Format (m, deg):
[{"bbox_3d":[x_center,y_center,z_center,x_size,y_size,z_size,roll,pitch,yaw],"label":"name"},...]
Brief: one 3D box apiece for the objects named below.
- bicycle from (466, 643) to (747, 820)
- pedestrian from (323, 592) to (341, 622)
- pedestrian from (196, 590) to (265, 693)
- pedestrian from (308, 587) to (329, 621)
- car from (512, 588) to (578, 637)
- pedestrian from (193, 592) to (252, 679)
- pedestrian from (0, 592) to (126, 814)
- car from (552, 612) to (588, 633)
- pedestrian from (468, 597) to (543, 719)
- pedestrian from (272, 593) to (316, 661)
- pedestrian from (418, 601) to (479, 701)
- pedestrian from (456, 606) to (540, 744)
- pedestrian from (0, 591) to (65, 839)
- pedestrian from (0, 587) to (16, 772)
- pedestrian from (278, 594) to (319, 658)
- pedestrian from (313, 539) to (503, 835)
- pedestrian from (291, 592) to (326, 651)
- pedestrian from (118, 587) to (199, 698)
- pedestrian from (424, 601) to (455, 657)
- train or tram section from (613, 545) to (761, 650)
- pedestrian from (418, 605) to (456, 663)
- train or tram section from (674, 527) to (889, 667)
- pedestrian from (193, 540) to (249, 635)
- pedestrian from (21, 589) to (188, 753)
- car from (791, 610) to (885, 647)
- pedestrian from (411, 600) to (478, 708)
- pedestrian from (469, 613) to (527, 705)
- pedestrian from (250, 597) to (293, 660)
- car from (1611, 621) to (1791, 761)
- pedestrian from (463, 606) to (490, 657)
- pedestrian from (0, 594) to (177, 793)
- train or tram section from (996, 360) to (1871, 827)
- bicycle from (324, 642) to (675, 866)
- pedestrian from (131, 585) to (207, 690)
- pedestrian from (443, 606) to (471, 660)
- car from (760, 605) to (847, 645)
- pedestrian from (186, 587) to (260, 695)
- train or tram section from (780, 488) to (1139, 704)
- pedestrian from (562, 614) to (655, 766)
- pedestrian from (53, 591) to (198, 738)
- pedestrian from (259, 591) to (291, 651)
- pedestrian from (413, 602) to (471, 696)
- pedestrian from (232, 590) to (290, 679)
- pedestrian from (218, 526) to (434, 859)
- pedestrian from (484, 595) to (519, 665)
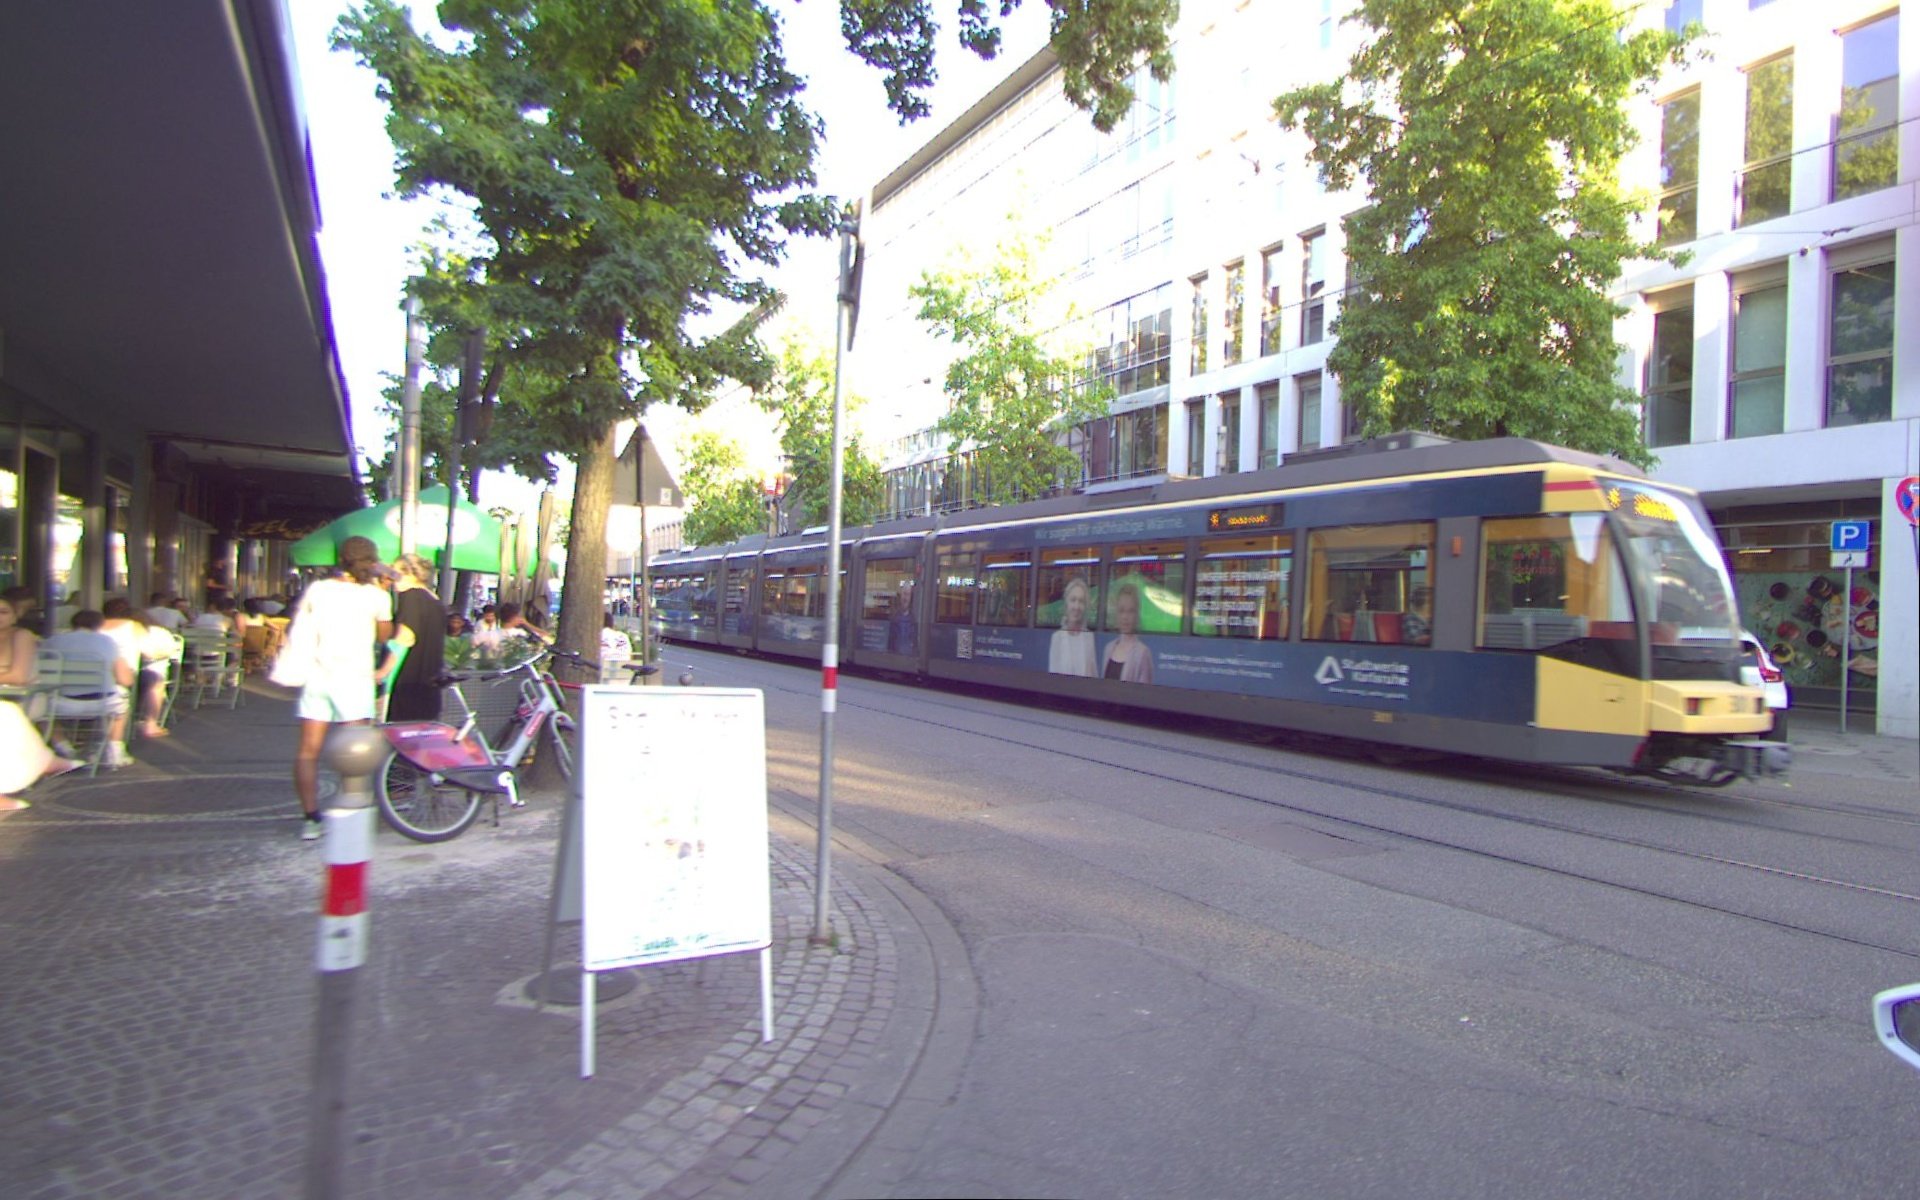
[{"bbox_3d":[-2.588,0.930,7.461,1.847,1.154,0.621,3,-2,-34],"label":"bicycle"},{"bbox_3d":[-27.195,0.314,43.504,0.507,1.258,0.655,6,-3,-30],"label":"pedestrian"},{"bbox_3d":[-10.287,0.587,14.182,0.649,1.396,0.759,3,-2,-30],"label":"pedestrian"},{"bbox_3d":[-28.492,0.165,44.604,0.604,1.452,0.508,5,-3,-28],"label":"pedestrian"},{"bbox_3d":[-18.324,0.532,44.234,1.978,2.003,4.809,2,-1,-31],"label":"car"},{"bbox_3d":[-12.237,0.587,16.683,0.649,1.396,0.759,3,-2,-30],"label":"pedestrian"},{"bbox_3d":[-6.029,0.622,6.413,0.839,1.337,0.876,3,-2,-26],"label":"pedestrian"},{"bbox_3d":[-30.661,1.737,78.894,1.892,1.570,3.963,1,-1,-33],"label":"car"},{"bbox_3d":[-5.408,0.678,11.937,0.709,1.380,0.865,3,-1,-28],"label":"pedestrian"},{"bbox_3d":[-13.992,0.567,21.122,0.649,1.396,0.759,3,-2,-30],"label":"pedestrian"},{"bbox_3d":[-7.369,0.723,14.468,0.709,1.380,0.918,3,-1,-28],"label":"pedestrian"},{"bbox_3d":[-4.927,0.773,10.688,0.709,1.380,0.918,3,-1,-28],"label":"pedestrian"},{"bbox_3d":[-5.707,0.606,5.555,0.877,1.337,0.875,3,-2,-27],"label":"pedestrian"},{"bbox_3d":[-7.041,0.558,6.845,0.616,1.337,0.836,3,-2,-27],"label":"pedestrian"},{"bbox_3d":[-14.502,0.572,22.043,0.649,1.348,0.759,3,-2,-30],"label":"pedestrian"},{"bbox_3d":[-3.520,0.526,6.457,0.629,1.764,0.782,1,-2,17],"label":"pedestrian"},{"bbox_3d":[-15.813,0.527,24.391,0.600,1.396,0.643,3,-2,-30],"label":"pedestrian"},{"bbox_3d":[-10.402,0.550,13.059,0.649,1.396,0.759,3,-2,-30],"label":"pedestrian"},{"bbox_3d":[-13.144,0.734,25.356,0.638,1.363,0.725,3,-2,-29],"label":"pedestrian"},{"bbox_3d":[-11.214,-0.044,40.215,3.019,3.570,10.446,4,-2,-30],"label":"train or tram section"},{"bbox_3d":[-11.881,0.766,22.804,0.702,1.281,0.595,3,-2,-30],"label":"pedestrian"},{"bbox_3d":[-5.926,-0.025,31.009,2.978,3.570,10.757,3,-1,-30],"label":"train or tram section"},{"bbox_3d":[-14.377,-0.238,19.544,0.754,1.789,0.653,1,-2,41],"label":"pedestrian"},{"bbox_3d":[-7.454,0.607,8.813,0.877,1.337,0.875,3,-2,-27],"label":"pedestrian"},{"bbox_3d":[-5.361,1.231,44.553,1.834,1.477,4.169,0,1,36],"label":"car"},{"bbox_3d":[-6.885,0.705,13.417,0.709,1.380,1.004,3,-1,-28],"label":"pedestrian"},{"bbox_3d":[-7.223,0.903,15.679,0.709,1.380,1.004,3,-1,-28],"label":"pedestrian"},{"bbox_3d":[-15.727,0.649,22.970,0.684,1.396,0.759,3,-2,-30],"label":"pedestrian"},{"bbox_3d":[11.056,1.213,15.165,1.920,1.694,4.259,-1,0,35],"label":"car"},{"bbox_3d":[-12.420,0.808,25.793,0.546,1.283,0.636,3,-2,-30],"label":"pedestrian"},{"bbox_3d":[-6.364,0.649,7.283,0.877,1.337,0.875,3,-2,-27],"label":"pedestrian"},{"bbox_3d":[4.495,0.022,12.910,2.991,3.570,10.287,2,-1,-30],"label":"train or tram section"},{"bbox_3d":[-2.789,0.865,6.318,0.767,1.154,1.863,1,-2,31],"label":"bicycle"},{"bbox_3d":[-10.872,0.520,13.827,0.649,1.396,0.759,3,-2,-30],"label":"pedestrian"},{"bbox_3d":[-13.233,0.866,26.446,0.574,1.396,0.560,3,-2,-30],"label":"pedestrian"},{"bbox_3d":[-7.221,1.119,46.795,1.886,1.660,4.201,0,1,27],"label":"car"},{"bbox_3d":[-9.812,0.545,13.394,0.649,1.396,0.759,3,-2,-30],"label":"pedestrian"},{"bbox_3d":[-0.666,0.000,21.868,2.982,3.570,10.318,3,-1,-30],"label":"train or tram section"},{"bbox_3d":[-3.417,0.848,9.738,0.687,1.395,0.787,3,-1,-28],"label":"pedestrian"},{"bbox_3d":[-8.045,0.612,9.738,0.839,1.337,0.876,3,-2,-26],"label":"pedestrian"},{"bbox_3d":[-16.438,0.507,24.112,0.533,1.396,0.674,3,-2,-30],"label":"pedestrian"},{"bbox_3d":[-7.919,0.733,15.346,0.709,1.380,1.004,3,-1,-28],"label":"pedestrian"},{"bbox_3d":[-11.266,0.554,16.212,0.649,1.396,0.759,3,-2,-30],"label":"pedestrian"},{"bbox_3d":[-3.648,0.500,5.814,0.630,1.764,0.780,1,-2,29],"label":"pedestrian"},{"bbox_3d":[-9.307,0.612,20.383,0.543,1.396,0.560,3,-2,-30],"label":"pedestrian"}]
